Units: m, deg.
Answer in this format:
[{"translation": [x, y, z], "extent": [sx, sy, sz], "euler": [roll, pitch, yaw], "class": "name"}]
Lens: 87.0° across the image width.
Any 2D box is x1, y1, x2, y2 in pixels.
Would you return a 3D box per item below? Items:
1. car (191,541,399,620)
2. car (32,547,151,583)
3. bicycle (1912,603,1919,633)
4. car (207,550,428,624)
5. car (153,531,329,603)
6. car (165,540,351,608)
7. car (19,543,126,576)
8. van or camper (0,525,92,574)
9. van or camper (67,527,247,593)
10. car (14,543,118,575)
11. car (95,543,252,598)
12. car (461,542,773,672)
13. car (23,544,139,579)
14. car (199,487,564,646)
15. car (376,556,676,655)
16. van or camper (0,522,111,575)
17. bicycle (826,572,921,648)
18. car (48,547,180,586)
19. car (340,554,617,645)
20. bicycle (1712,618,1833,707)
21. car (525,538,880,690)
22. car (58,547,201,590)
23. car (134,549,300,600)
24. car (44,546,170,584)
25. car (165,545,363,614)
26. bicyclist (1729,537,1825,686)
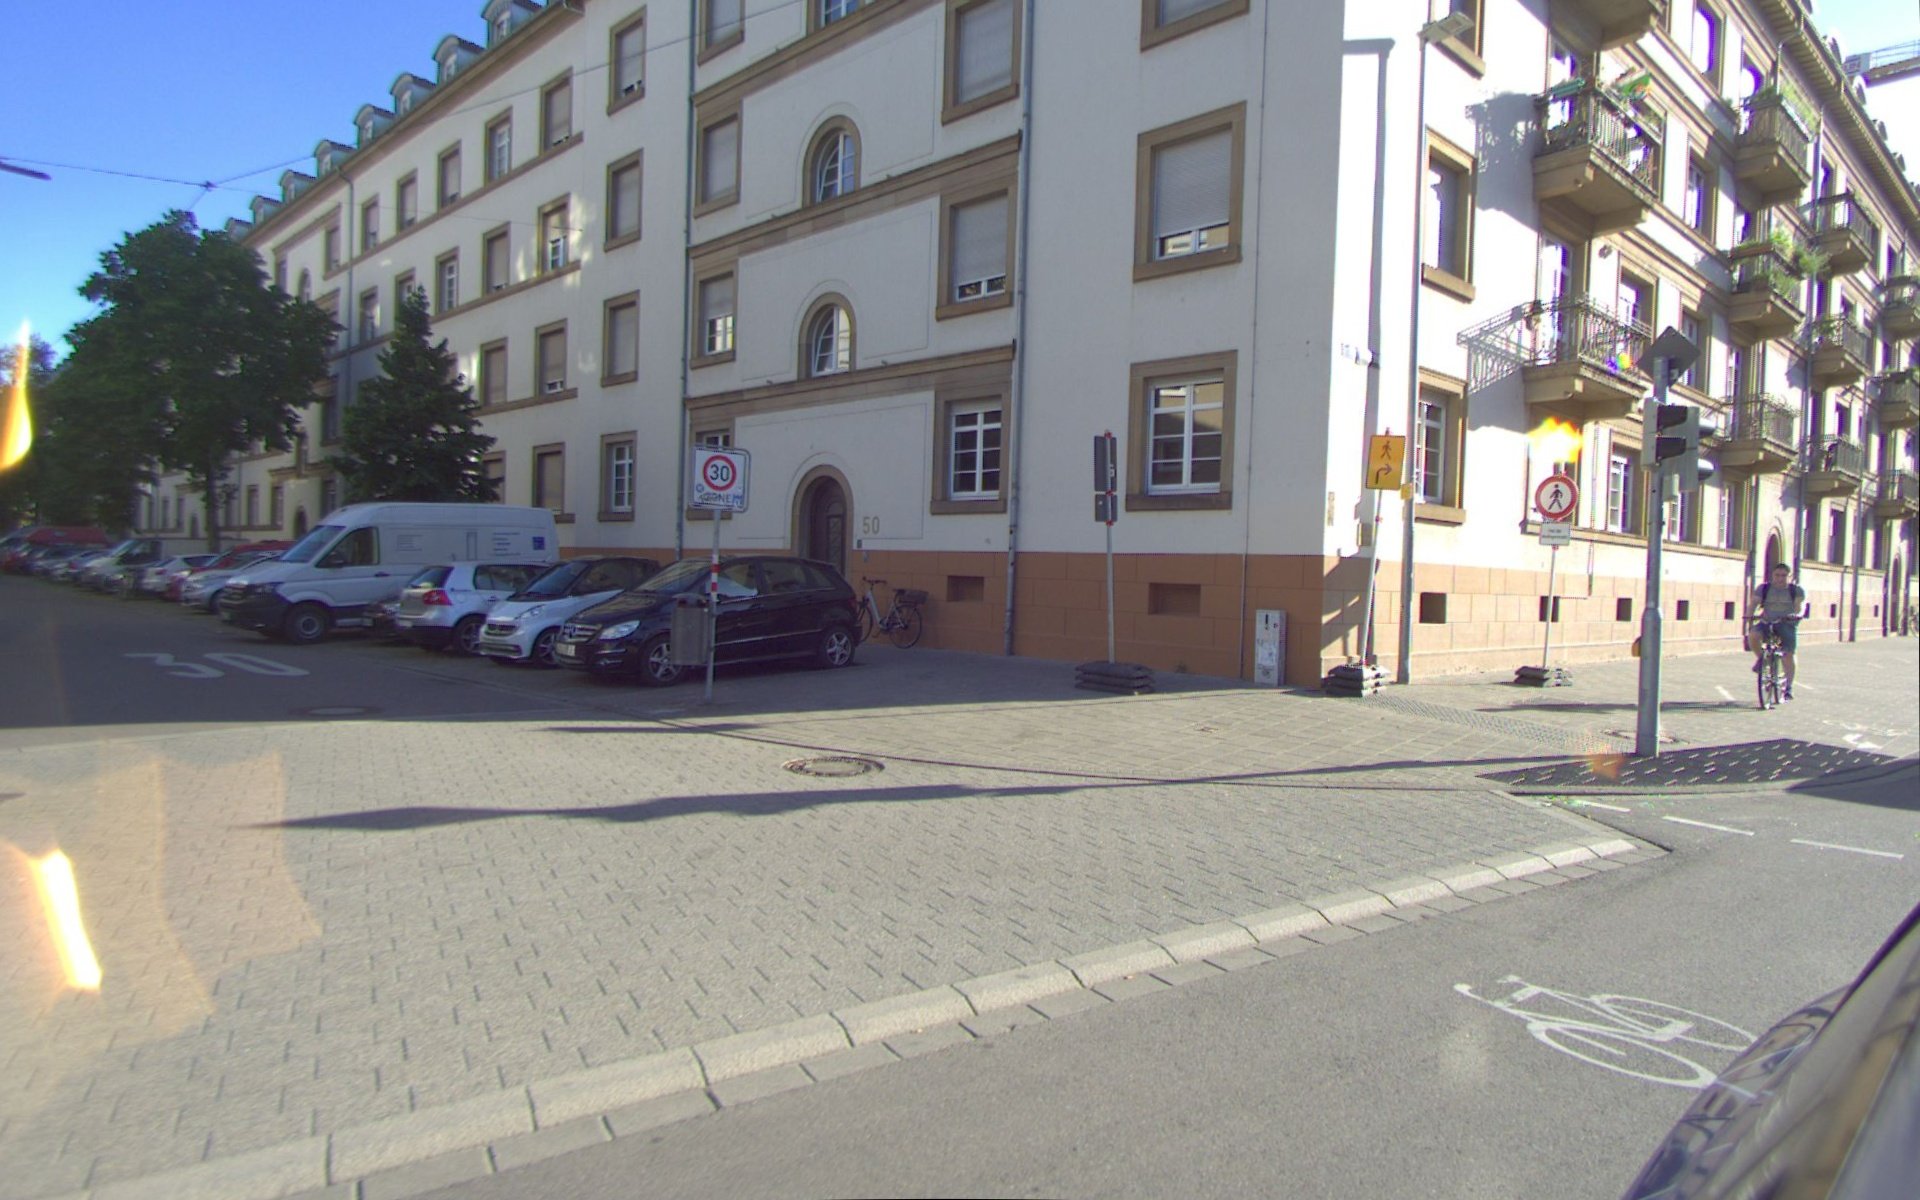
[{"translation": [-15.936, -0.427, 24.395], "extent": [1.538, 1.761, 3.937], "euler": [0, -1, 43], "class": "car"}, {"translation": [-39.316, -1.562, 45.877], "extent": [1.689, 1.454, 3.938], "euler": [0, -1, 43], "class": "car"}, {"translation": [37.014, 0.688, 38.837], "extent": [2.159, 1.109, 0.419], "euler": [0, 1, -40], "class": "bicycle"}, {"translation": [-14.254, -0.251, 22.588], "extent": [3.932, 1.509, 1.692], "euler": [1, -1, -43], "class": "car"}, {"translation": [-21.050, -0.889, 29.724], "extent": [1.689, 1.961, 3.940], "euler": [0, -1, 41], "class": "car"}, {"translation": [-19.434, -0.657, 28.154], "extent": [1.687, 1.749, 3.944], "euler": [0, -1, 38], "class": "car"}, {"translation": [-44.776, -2.009, 51.117], "extent": [1.689, 1.454, 3.938], "euler": [0, -1, 43], "class": "car"}, {"translation": [-55.298, -2.987, 60.540], "extent": [1.810, 2.754, 4.820], "euler": [0, -1, 38], "class": "van or camper"}, {"translation": [-28.427, -1.355, 35.949], "extent": [1.814, 2.124, 4.811], "euler": [0, -1, 43], "class": "van or camper"}, {"translation": [-46.652, -2.103, 52.855], "extent": [1.689, 1.454, 3.938], "euler": [0, -1, 43], "class": "car"}, {"translation": [-26.344, -0.942, 33.991], "extent": [1.735, 1.701, 3.940], "euler": [0, -1, 41], "class": "car"}, {"translation": [-5.076, 0.009, 15.536], "extent": [1.620, 1.707, 4.379], "euler": [1, 2, 38], "class": "car"}, {"translation": [-41.193, -1.785, 47.479], "extent": [1.689, 1.454, 3.938], "euler": [0, -1, 43], "class": "car"}, {"translation": [-10.990, -0.722, 19.772], "extent": [1.920, 2.640, 5.880], "euler": [2, 4, 39], "class": "car"}, {"translation": [-7.136, 0.037, 17.041], "extent": [1.690, 1.447, 4.377], "euler": [0, 1, 40], "class": "car"}, {"translation": [-48.809, -2.717, 54.246], "extent": [1.810, 2.560, 4.820], "euler": [0, -1, 38], "class": "van or camper"}, {"translation": [-1.476, 0.144, 17.058], "extent": [1.801, 1.179, 0.401], "euler": [2, 3, 38], "class": "bicycle"}, {"translation": [-34.221, -1.315, 41.000], "extent": [1.689, 1.454, 3.938], "euler": [0, -1, 43], "class": "car"}, {"translation": [-8.827, -0.049, 18.864], "extent": [1.690, 1.497, 4.375], "euler": [0, 1, 41], "class": "car"}, {"translation": [10.228, 0.742, 12.707], "extent": [2.159, 0.965, 0.769], "euler": [0, 2, -40], "class": "bicycle"}, {"translation": [-3.262, 0.071, 13.544], "extent": [1.692, 1.707, 4.373], "euler": [0, 2, 43], "class": "car"}, {"translation": [-30.927, -1.131, 37.741], "extent": [1.689, 1.454, 3.938], "euler": [0, -1, 43], "class": "car"}, {"translation": [-23.031, -0.736, 31.469], "extent": [1.690, 1.454, 3.937], "euler": [0, -1, 43], "class": "car"}, {"translation": [-36.233, -1.458, 43.051], "extent": [1.689, 1.454, 3.938], "euler": [0, -1, 43], "class": "car"}, {"translation": [-17.783, -0.482, 25.974], "extent": [1.690, 1.636, 3.936], "euler": [0, -1, 44], "class": "car"}, {"translation": [10.206, 0.123, 12.643], "extent": [0.921, 1.785, 0.734], "euler": [1, 1, -40], "class": "bicyclist"}]
